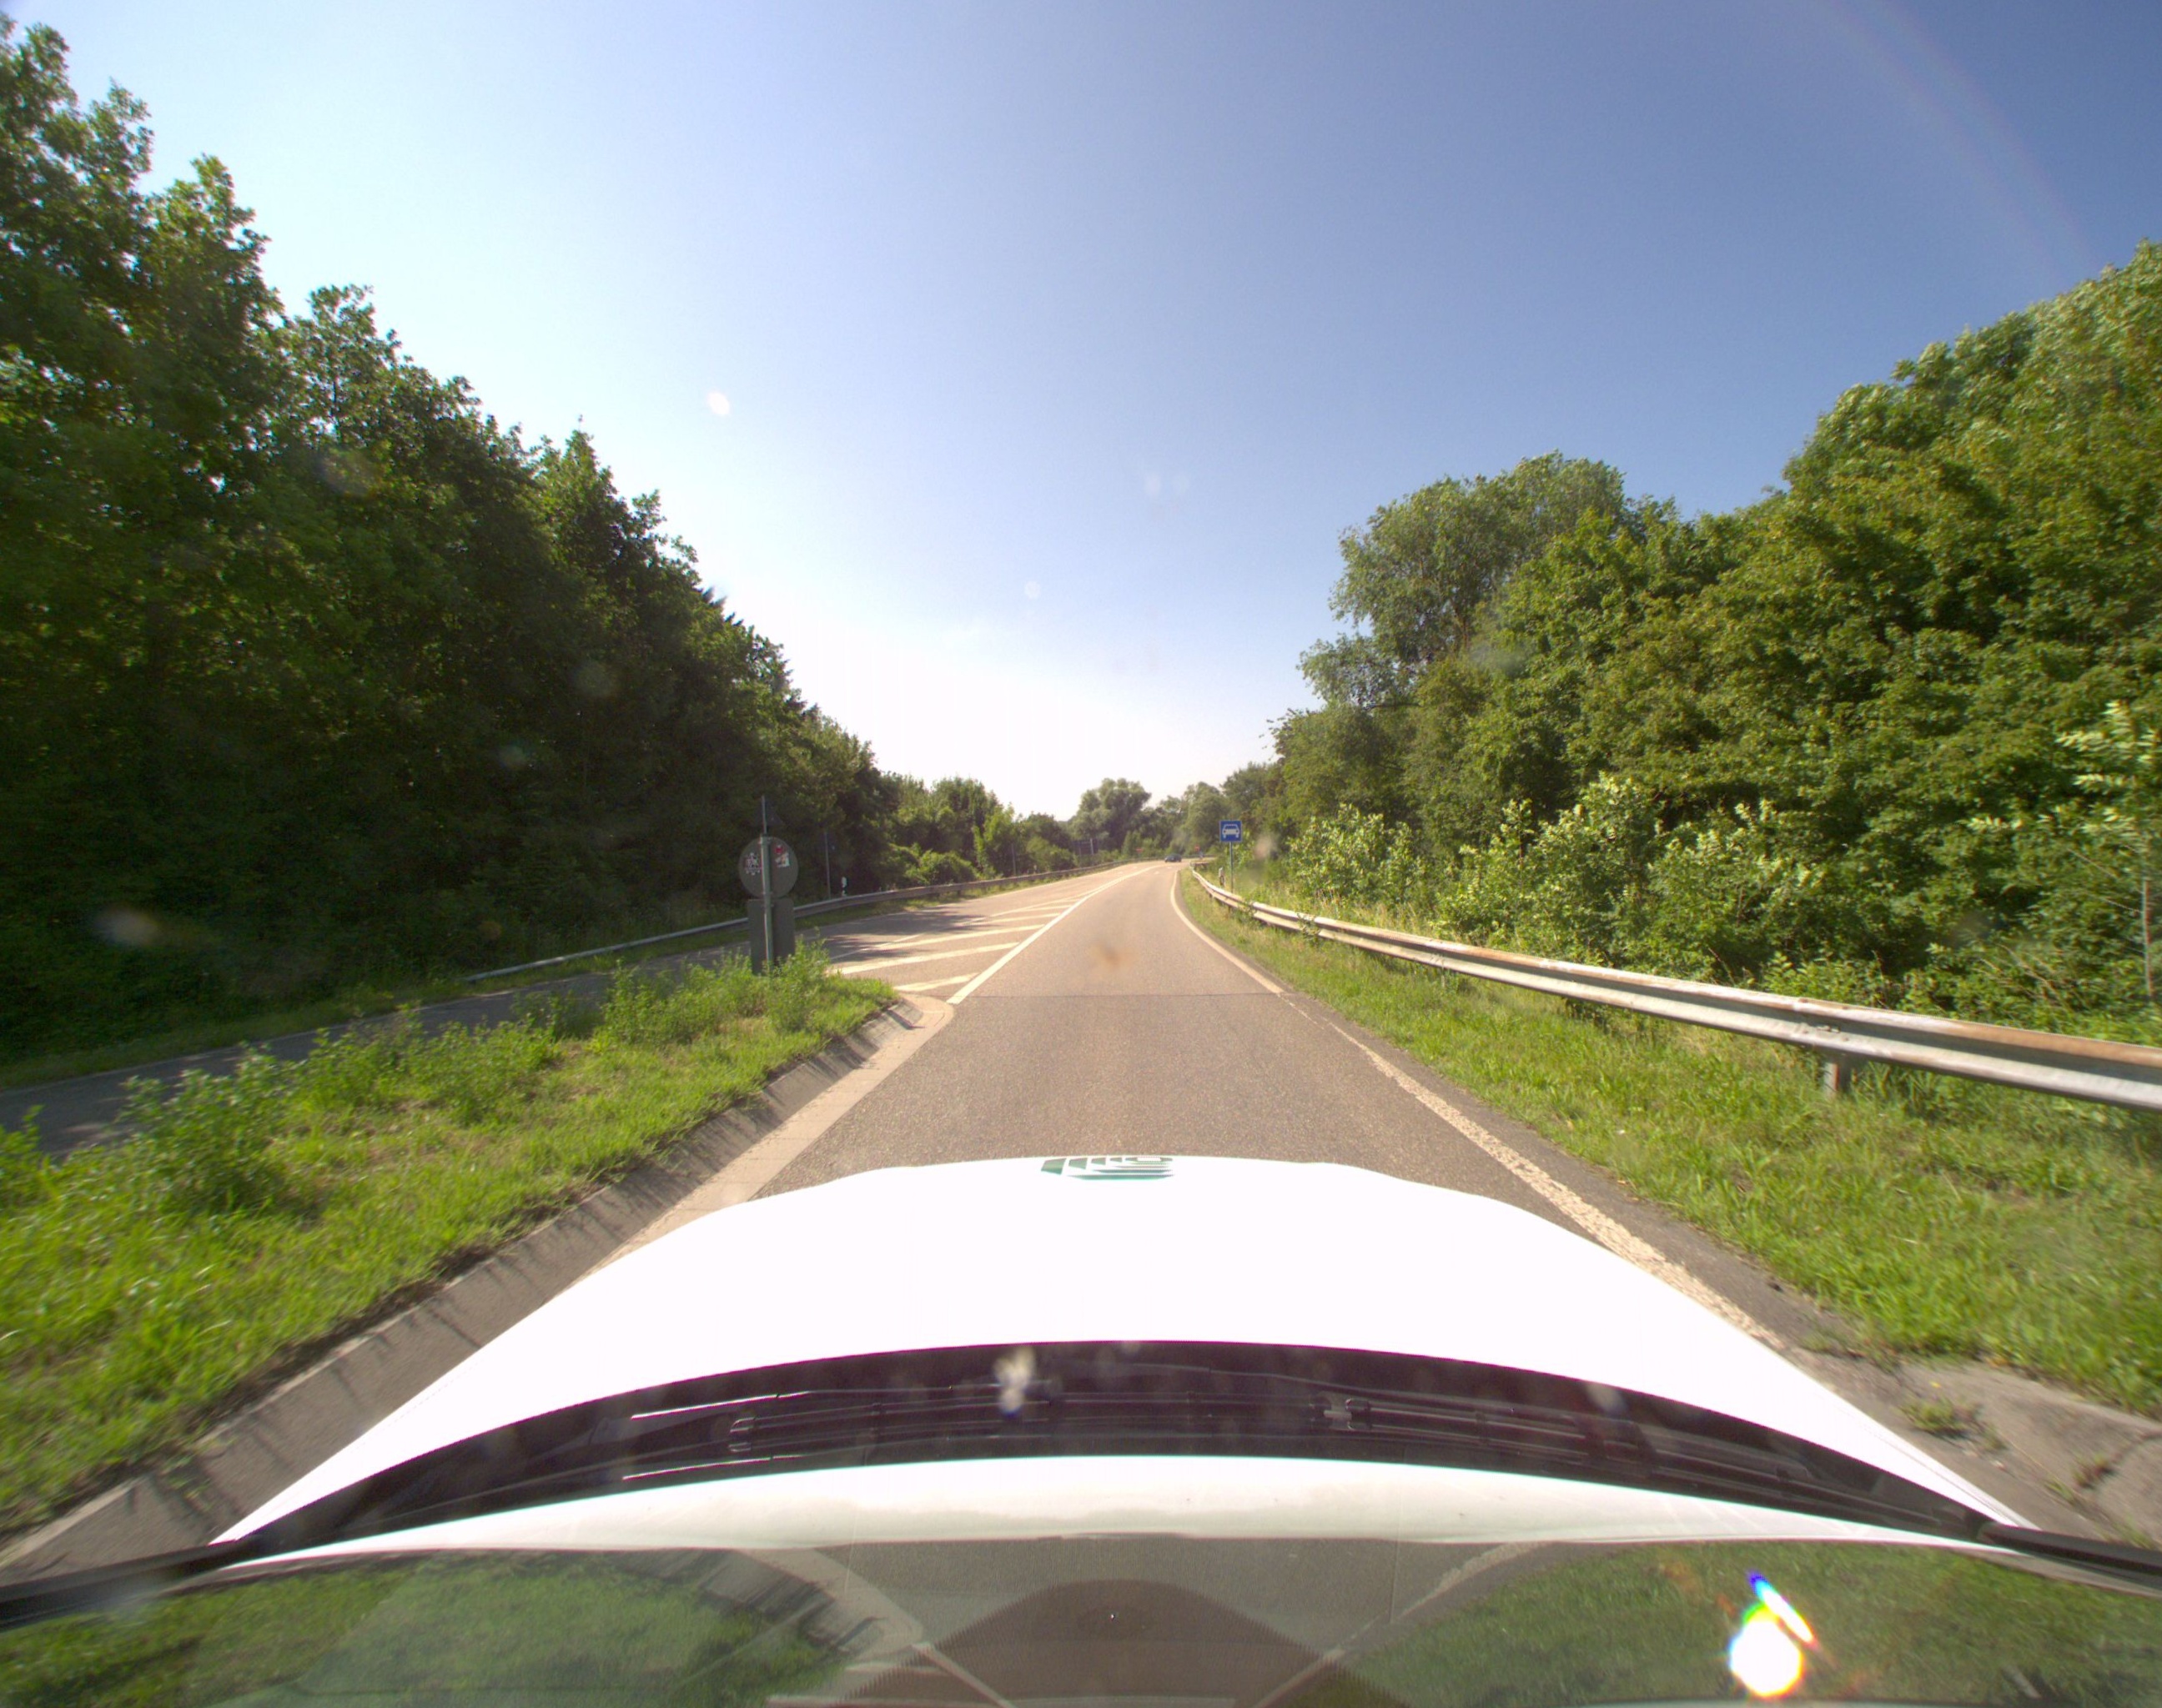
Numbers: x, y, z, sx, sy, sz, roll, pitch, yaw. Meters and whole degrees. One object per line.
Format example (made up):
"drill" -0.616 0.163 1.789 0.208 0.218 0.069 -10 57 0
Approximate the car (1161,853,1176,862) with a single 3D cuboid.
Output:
"car" 15.101 0.613 140.440 1.594 1.473 4.241 -1 -1 21
